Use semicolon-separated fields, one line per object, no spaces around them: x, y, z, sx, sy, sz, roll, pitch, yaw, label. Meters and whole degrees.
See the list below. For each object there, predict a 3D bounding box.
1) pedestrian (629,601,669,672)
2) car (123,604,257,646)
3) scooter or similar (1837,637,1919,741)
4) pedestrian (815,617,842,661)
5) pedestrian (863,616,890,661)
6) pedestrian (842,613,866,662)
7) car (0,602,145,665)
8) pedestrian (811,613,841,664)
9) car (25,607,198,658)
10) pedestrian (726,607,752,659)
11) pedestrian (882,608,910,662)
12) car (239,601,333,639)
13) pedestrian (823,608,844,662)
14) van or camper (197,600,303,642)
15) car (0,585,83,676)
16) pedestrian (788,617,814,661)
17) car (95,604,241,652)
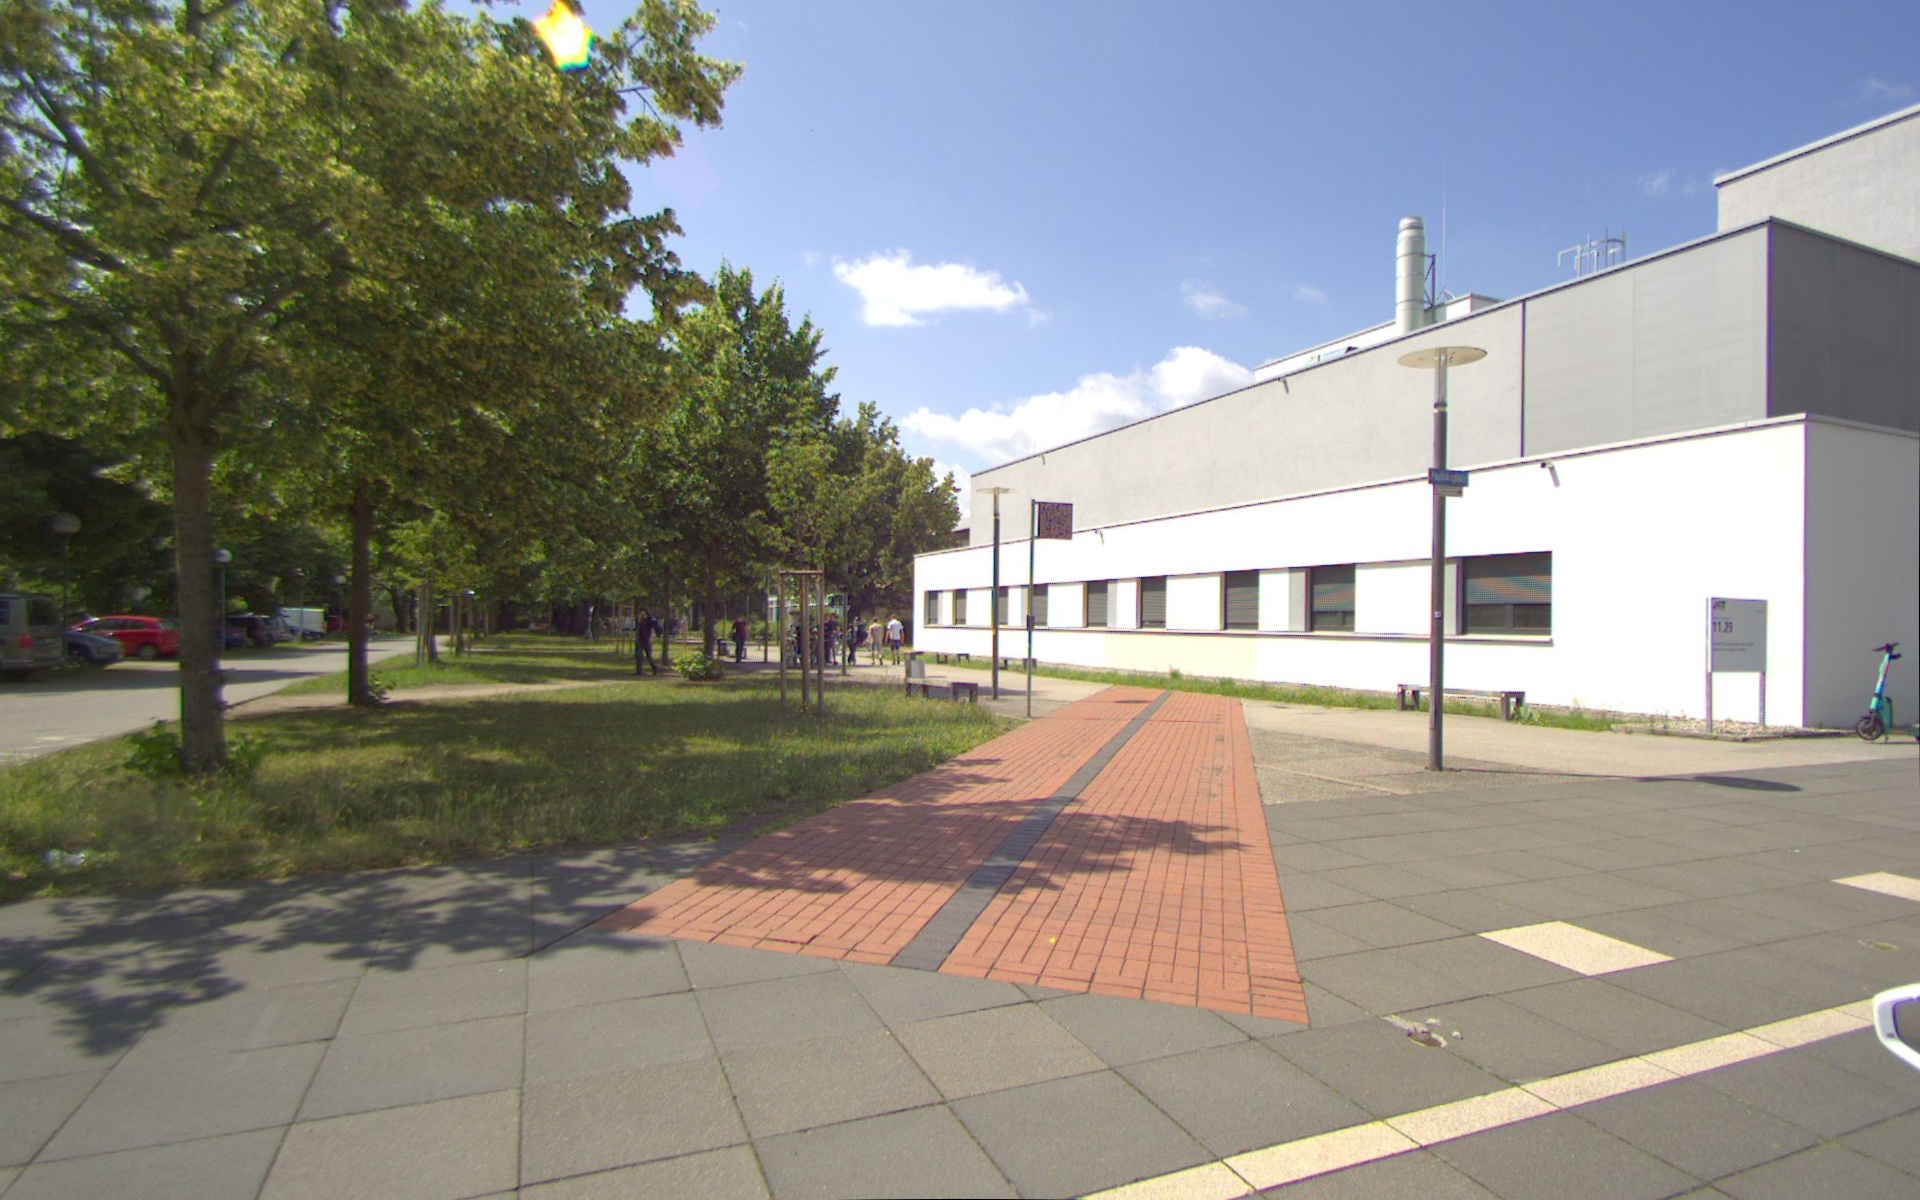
-8.080;0.935;26.089;0.623;1.810;0.873;0;-1;12;pedestrian
-32.231;1.062;42.206;4.068;1.562;1.802;3;-2;-25;car
12.061;1.135;12.926;1.290;1.280;0.483;1;-1;-11;scooter or similar
-4.913;1.441;37.446;0.688;1.602;0.848;2;-1;-32;pedestrian
-2.978;1.356;35.760;0.747;1.583;0.727;1;-1;-20;pedestrian
-3.727;1.312;35.255;0.785;1.676;0.731;1;-1;-7;pedestrian
-24.867;0.884;27.104;4.068;1.562;1.802;3;-2;-25;car
-4.557;1.306;34.237;0.741;1.720;0.880;1;-1;-28;pedestrian
-28.930;1.114;34.413;4.064;1.562;1.804;3;-2;-21;car
-8.187;1.229;37.289;0.840;1.916;0.667;1;-1;-7;pedestrian
-2.314;1.262;36.172;0.813;1.908;0.760;1;-1;-20;pedestrian
-38.109;1.133;56.907;4.068;1.969;1.802;3;-2;-25;car
-4.485;1.242;35.643;0.673;1.863;0.761;1;-1;-7;pedestrian
-35.796;1.069;50.761;4.027;1.910;1.802;3;-2;-25;van or camper
-22.809;0.626;22.391;4.460;1.985;1.804;3;-2;-21;car
-5.901;1.440;37.265;0.738;1.602;0.850;1;-1;-23;pedestrian
-30.596;1.092;38.961;4.068;1.689;1.802;3;-2;-25;car
